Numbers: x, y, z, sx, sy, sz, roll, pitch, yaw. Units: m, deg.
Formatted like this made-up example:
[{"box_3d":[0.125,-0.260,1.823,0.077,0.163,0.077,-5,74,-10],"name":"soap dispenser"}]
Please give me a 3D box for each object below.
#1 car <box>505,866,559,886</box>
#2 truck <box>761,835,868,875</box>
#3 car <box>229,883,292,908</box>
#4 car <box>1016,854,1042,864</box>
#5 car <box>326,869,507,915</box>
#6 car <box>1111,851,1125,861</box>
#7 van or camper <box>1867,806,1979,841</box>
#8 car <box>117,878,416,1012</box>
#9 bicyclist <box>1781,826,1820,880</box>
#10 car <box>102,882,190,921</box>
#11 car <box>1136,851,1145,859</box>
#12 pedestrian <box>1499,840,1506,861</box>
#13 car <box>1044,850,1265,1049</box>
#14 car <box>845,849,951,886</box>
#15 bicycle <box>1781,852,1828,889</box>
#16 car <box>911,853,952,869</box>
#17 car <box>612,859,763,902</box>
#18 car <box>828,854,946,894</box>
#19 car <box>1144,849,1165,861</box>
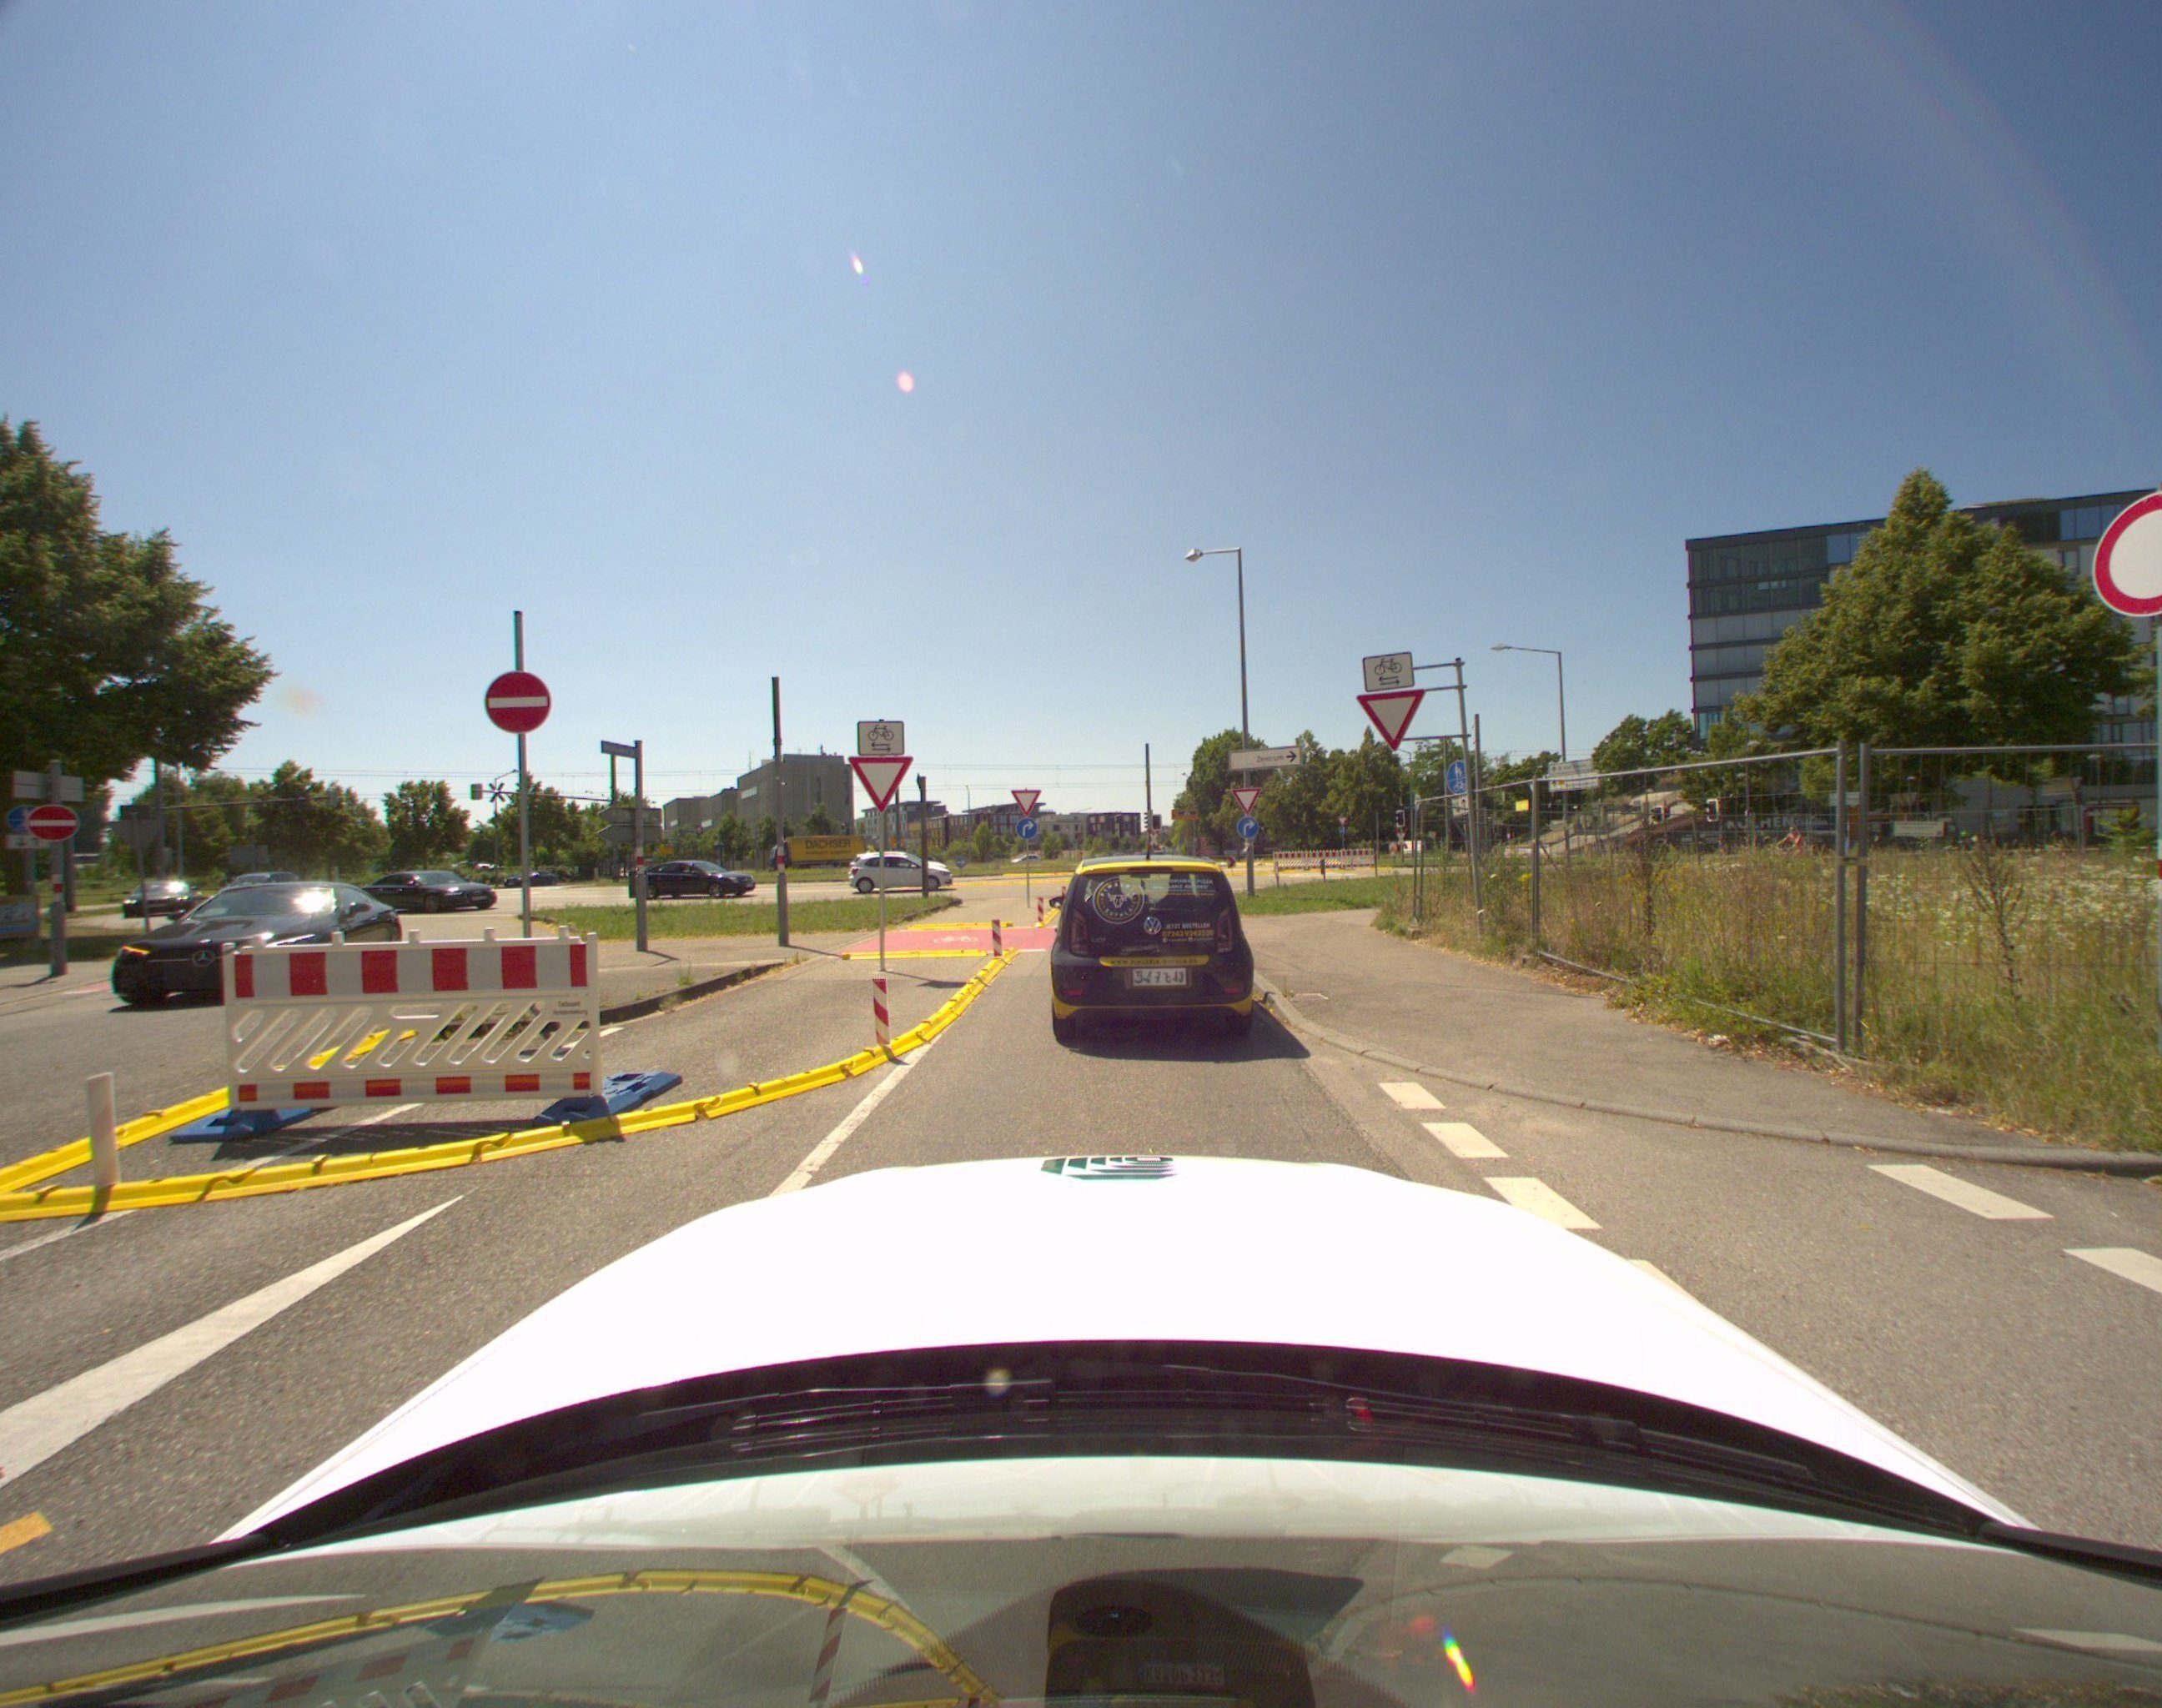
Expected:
[{"box_3d":[-44.634,1.781,66.281,1.334,1.514,3.434,-2,0,22],"name":"car"},{"box_3d":[-26.274,0.081,80.696,9.648,3.659,2.680,-2,0,-32],"name":"truck"},{"box_3d":[-46.796,2.348,46.503,1.649,1.227,3.230,-2,0,-29],"name":"car"},{"box_3d":[-6.132,0.573,96.048,2.906,1.155,1.192,-2,0,-33],"name":"car"},{"box_3d":[-23.113,1.311,28.472,4.621,1.449,1.999,-1,0,-1],"name":"car"},{"box_3d":[5.743,0.286,125.886,1.756,1.344,3.332,-2,0,11],"name":"car"},{"box_3d":[74.797,-2.656,72.467,6.720,2.822,2.391,-1,0,11],"name":"van or camper"},{"box_3d":[-11.400,1.129,11.855,1.827,1.403,4.590,-3,0,-29],"name":"car"},{"box_3d":[22.472,-0.034,25.447,0.712,1.664,0.640,-1,-2,-30],"name":"bicyclist"},{"box_3d":[-38.344,1.909,33.380,4.558,1.412,1.734,-2,0,33],"name":"car"},{"box_3d":[10.651,0.164,146.182,1.514,1.393,3.284,-2,0,2],"name":"car"},{"box_3d":[35.149,-0.266,67.930,0.444,1.739,0.319,-1,0,13],"name":"pedestrian"},{"box_3d":[0.603,0.702,8.019,1.612,1.451,3.988,-1,0,2],"name":"car"},{"box_3d":[-8.198,0.598,36.782,4.344,1.486,1.997,-2,0,-5],"name":"car"},{"box_3d":[22.515,0.503,25.338,2.095,1.058,0.435,-2,-1,-31],"name":"bicycle"},{"box_3d":[-15.593,0.725,84.863,4.031,1.461,1.726,-2,0,-7],"name":"car"},{"box_3d":[-14.948,0.987,31.121,4.728,1.449,2.000,-1,0,-1],"name":"car"},{"box_3d":[-7.533,0.744,31.974,4.336,1.449,1.851,-1,0,-9],"name":"car"},{"box_3d":[8.650,0.161,96.043,1.660,1.372,3.019,-2,0,-12],"name":"car"}]
